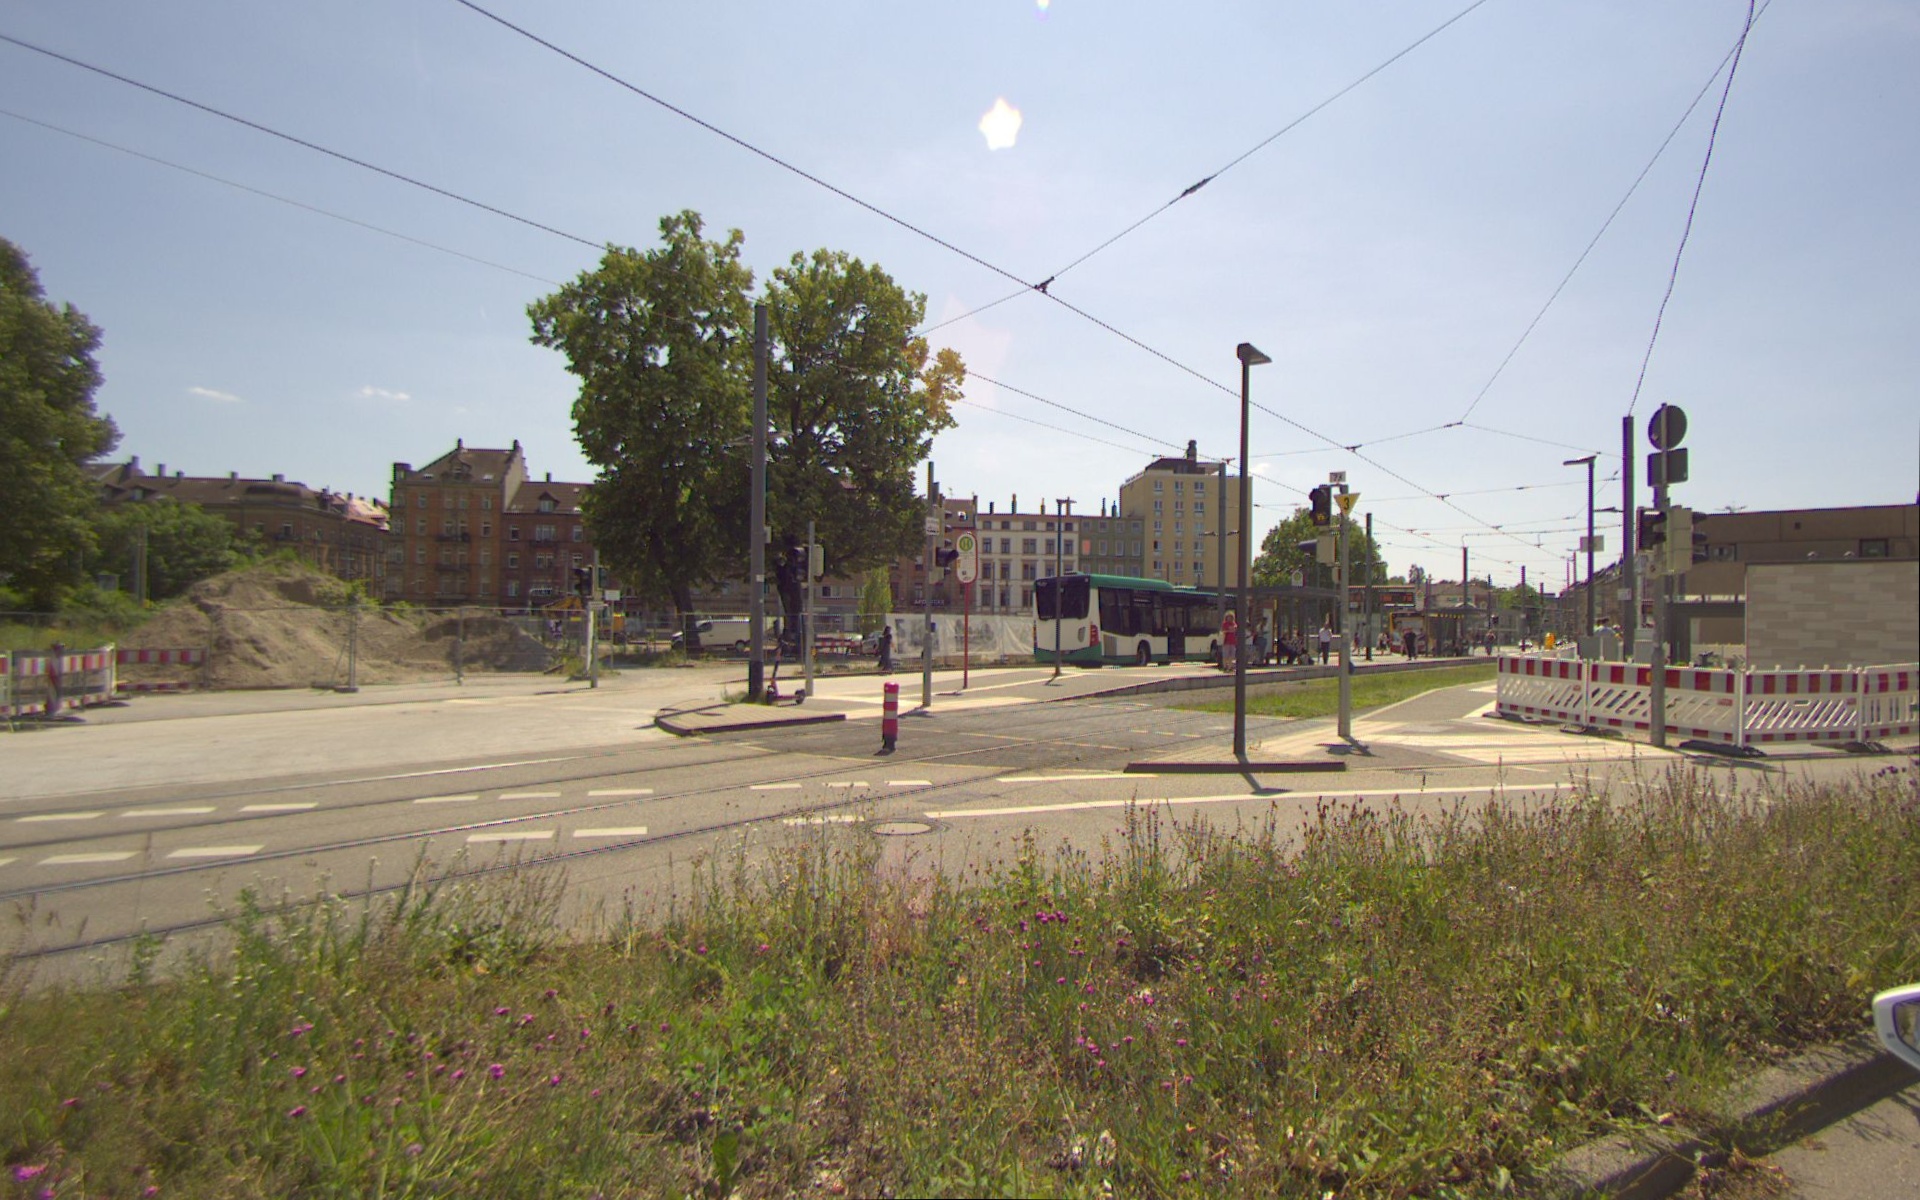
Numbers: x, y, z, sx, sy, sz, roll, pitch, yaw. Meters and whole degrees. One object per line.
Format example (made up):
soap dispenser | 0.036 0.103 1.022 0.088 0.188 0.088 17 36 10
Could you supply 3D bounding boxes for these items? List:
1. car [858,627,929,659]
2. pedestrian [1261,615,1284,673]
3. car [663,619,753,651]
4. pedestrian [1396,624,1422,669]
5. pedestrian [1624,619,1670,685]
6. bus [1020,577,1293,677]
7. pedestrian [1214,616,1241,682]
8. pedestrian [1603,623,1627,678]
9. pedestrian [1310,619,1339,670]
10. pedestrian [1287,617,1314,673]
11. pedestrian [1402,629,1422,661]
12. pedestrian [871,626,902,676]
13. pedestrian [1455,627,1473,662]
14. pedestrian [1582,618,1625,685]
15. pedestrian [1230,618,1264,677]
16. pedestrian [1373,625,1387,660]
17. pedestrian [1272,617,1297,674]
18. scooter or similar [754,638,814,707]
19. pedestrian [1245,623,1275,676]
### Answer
car | -3.667 2.341 54.826 1.836 1.671 4.149 2 -2 -39
pedestrian | 11.526 1.624 37.057 0.688 2.124 0.644 0 -2 27
car | -15.525 2.161 61.870 4.982 1.909 2.100 2 -2 -32
pedestrian | 21.724 2.250 48.602 0.889 2.124 0.827 -1 -2 43
pedestrian | 19.850 1.489 29.040 0.961 1.856 0.633 0 -2 24
bus | 8.588 1.130 39.812 2.974 3.199 17.424 -1 -2 38
pedestrian | 8.055 1.465 30.207 0.662 1.934 0.639 0 -2 29
pedestrian | 23.546 1.809 36.129 0.709 1.948 1.071 0 -2 33
pedestrian | 15.365 1.864 42.316 0.889 2.124 0.827 -1 -2 43
pedestrian | 13.041 1.718 38.449 0.885 2.124 0.830 0 -2 27
pedestrian | 26.591 2.663 59.150 0.954 1.859 0.777 0 -2 14
pedestrian | -2.441 1.690 33.317 0.819 1.623 0.600 2 -2 -42
pedestrian | 31.195 2.762 62.208 0.818 2.124 0.898 -1 -2 38
pedestrian | 18.450 1.468 28.823 0.752 1.888 0.730 2 -2 -2
pedestrian | 9.873 1.621 34.596 0.927 2.016 1.027 0 -2 29
pedestrian | 25.576 2.594 61.111 0.693 2.139 0.657 0 -2 14
pedestrian | 12.212 1.704 37.789 0.811 2.124 0.641 0 -2 27
scooter or similar | -3.208 1.308 18.419 0.314 1.222 1.245 -1 -2 33
pedestrian | 10.691 1.761 35.760 0.898 1.876 0.657 0 -2 29
